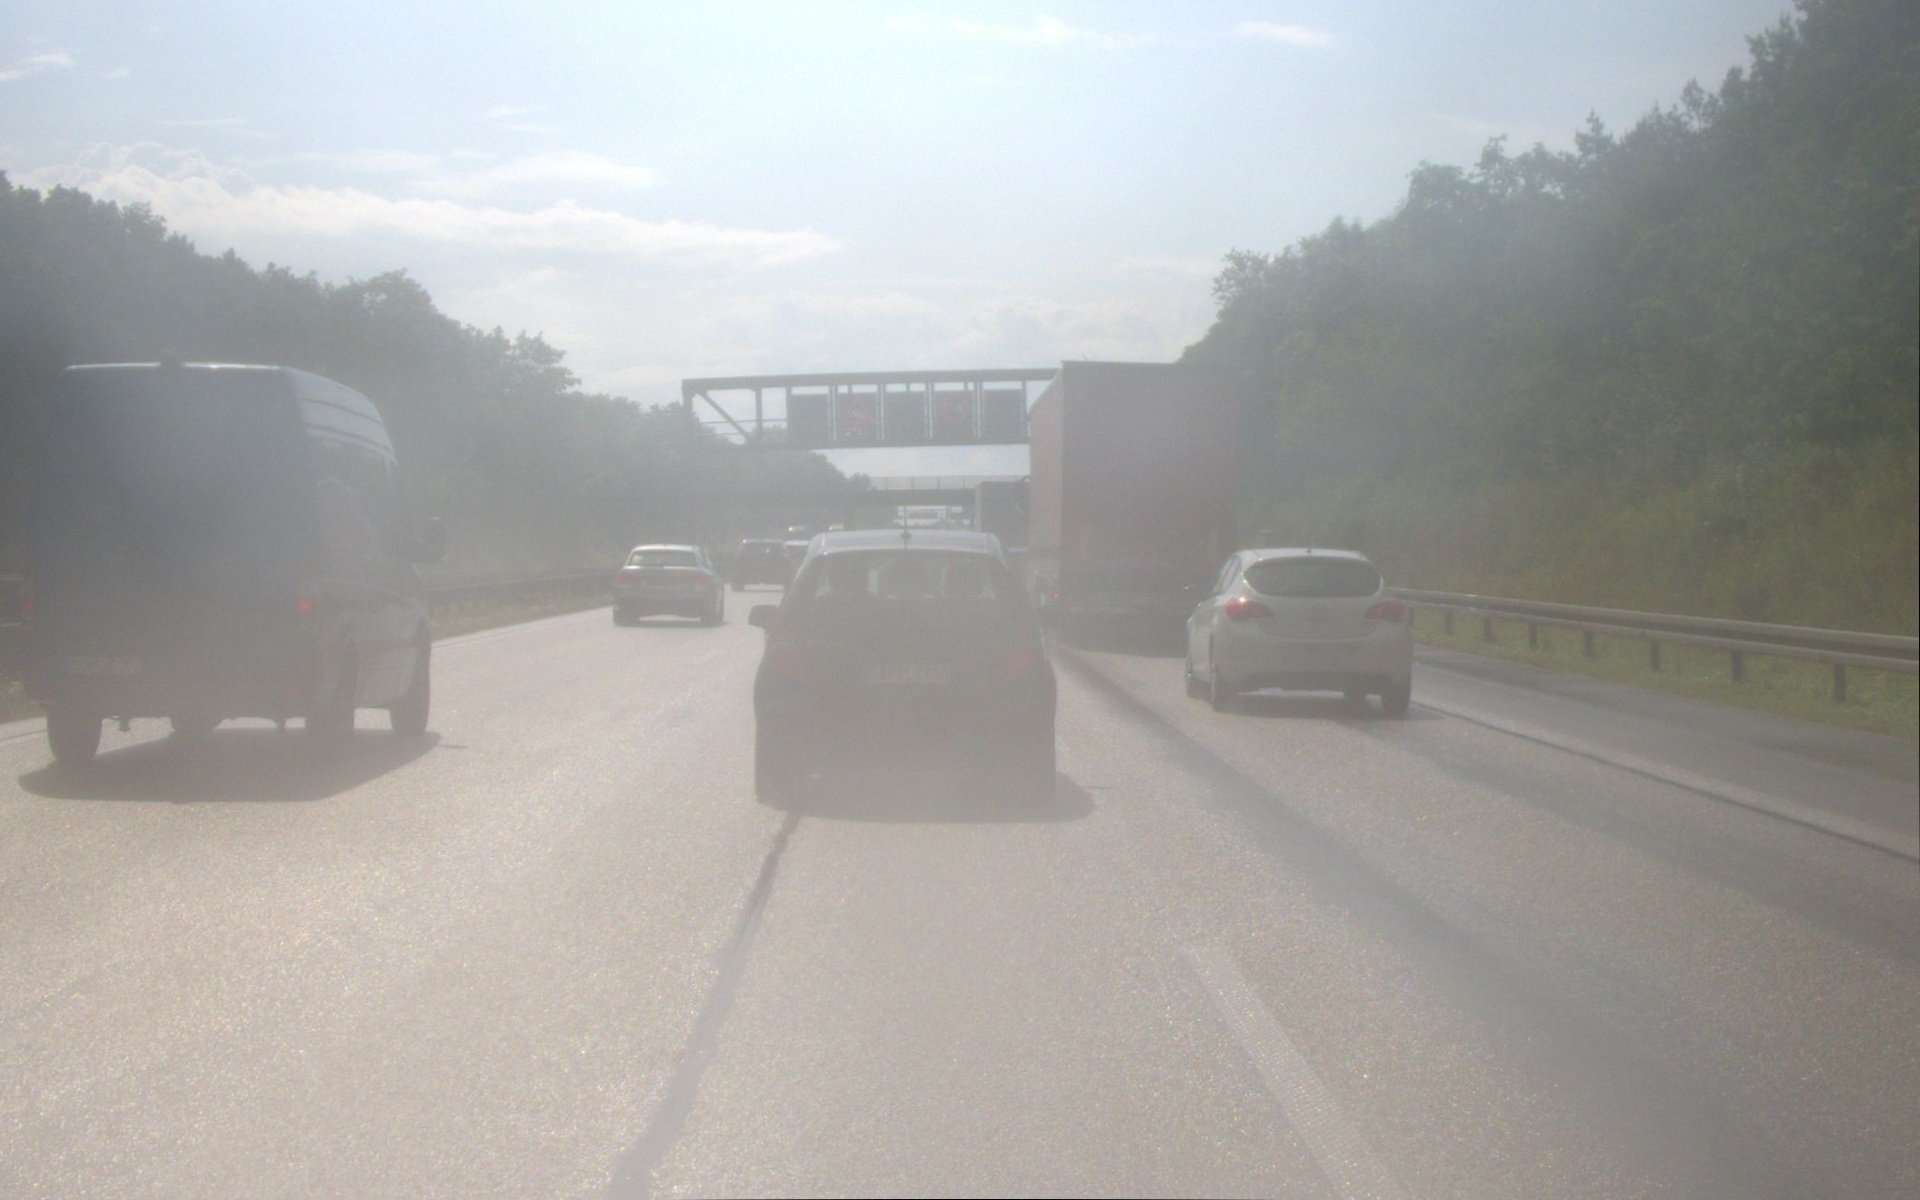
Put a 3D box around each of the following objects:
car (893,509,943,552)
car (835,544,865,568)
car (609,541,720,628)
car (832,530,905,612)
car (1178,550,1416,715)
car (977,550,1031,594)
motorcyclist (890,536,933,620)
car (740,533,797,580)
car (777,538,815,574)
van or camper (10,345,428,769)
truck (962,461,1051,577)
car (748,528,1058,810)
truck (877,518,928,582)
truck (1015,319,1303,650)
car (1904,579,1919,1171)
[{"bbox_3d":[-1.398,-2.291,113.532,1.552,1.378,3.210,1,1,-2],"label":"car"},{"bbox_3d":[-5.952,-2.376,185.661,1.549,1.262,3.485,1,1,-3],"label":"car"},{"bbox_3d":[-5.422,-0.306,63.399,1.854,1.546,3.485,1,1,-2],"label":"car"},{"bbox_3d":[-2.027,-0.646,75.633,1.531,1.740,3.485,1,1,-2],"label":"car"},{"bbox_3d":[3.089,0.258,32.175,1.680,1.437,3.905,1,1,-2],"label":"car"},{"bbox_3d":[1.413,-0.924,111.203,1.552,1.378,3.210,1,1,-2],"label":"car"},{"bbox_3d":[-0.965,-0.445,67.684,0.801,1.627,1.013,1,1,-2],"label":"motorcyclist"},{"bbox_3d":[-6.011,-1.380,108.183,1.751,1.452,3.390,1,1,-2],"label":"car"},{"bbox_3d":[-6.409,-1.719,134.486,1.460,1.389,3.312,1,1,-2],"label":"car"},{"bbox_3d":[-5.111,-0.311,24.472,1.993,2.659,5.385,1,1,-2],"label":"van or camper"},{"bbox_3d":[1.816,-3.242,139.432,3.256,4.464,12.422,1,1,-1],"label":"truck"},{"bbox_3d":[-0.386,0.364,21.002,1.717,1.562,3.485,1,1,-2],"label":"car"},{"bbox_3d":[-2.679,-2.321,159.178,2.192,2.865,4.850,1,1,-2],"label":"truck"},{"bbox_3d":[2.982,-1.779,57.656,3.650,4.704,16.780,1,1,-1],"label":"truck"},{"bbox_3d":[3.181,0.701,6.289,1.692,1.420,4.220,1,1,-1],"label":"car"}]
